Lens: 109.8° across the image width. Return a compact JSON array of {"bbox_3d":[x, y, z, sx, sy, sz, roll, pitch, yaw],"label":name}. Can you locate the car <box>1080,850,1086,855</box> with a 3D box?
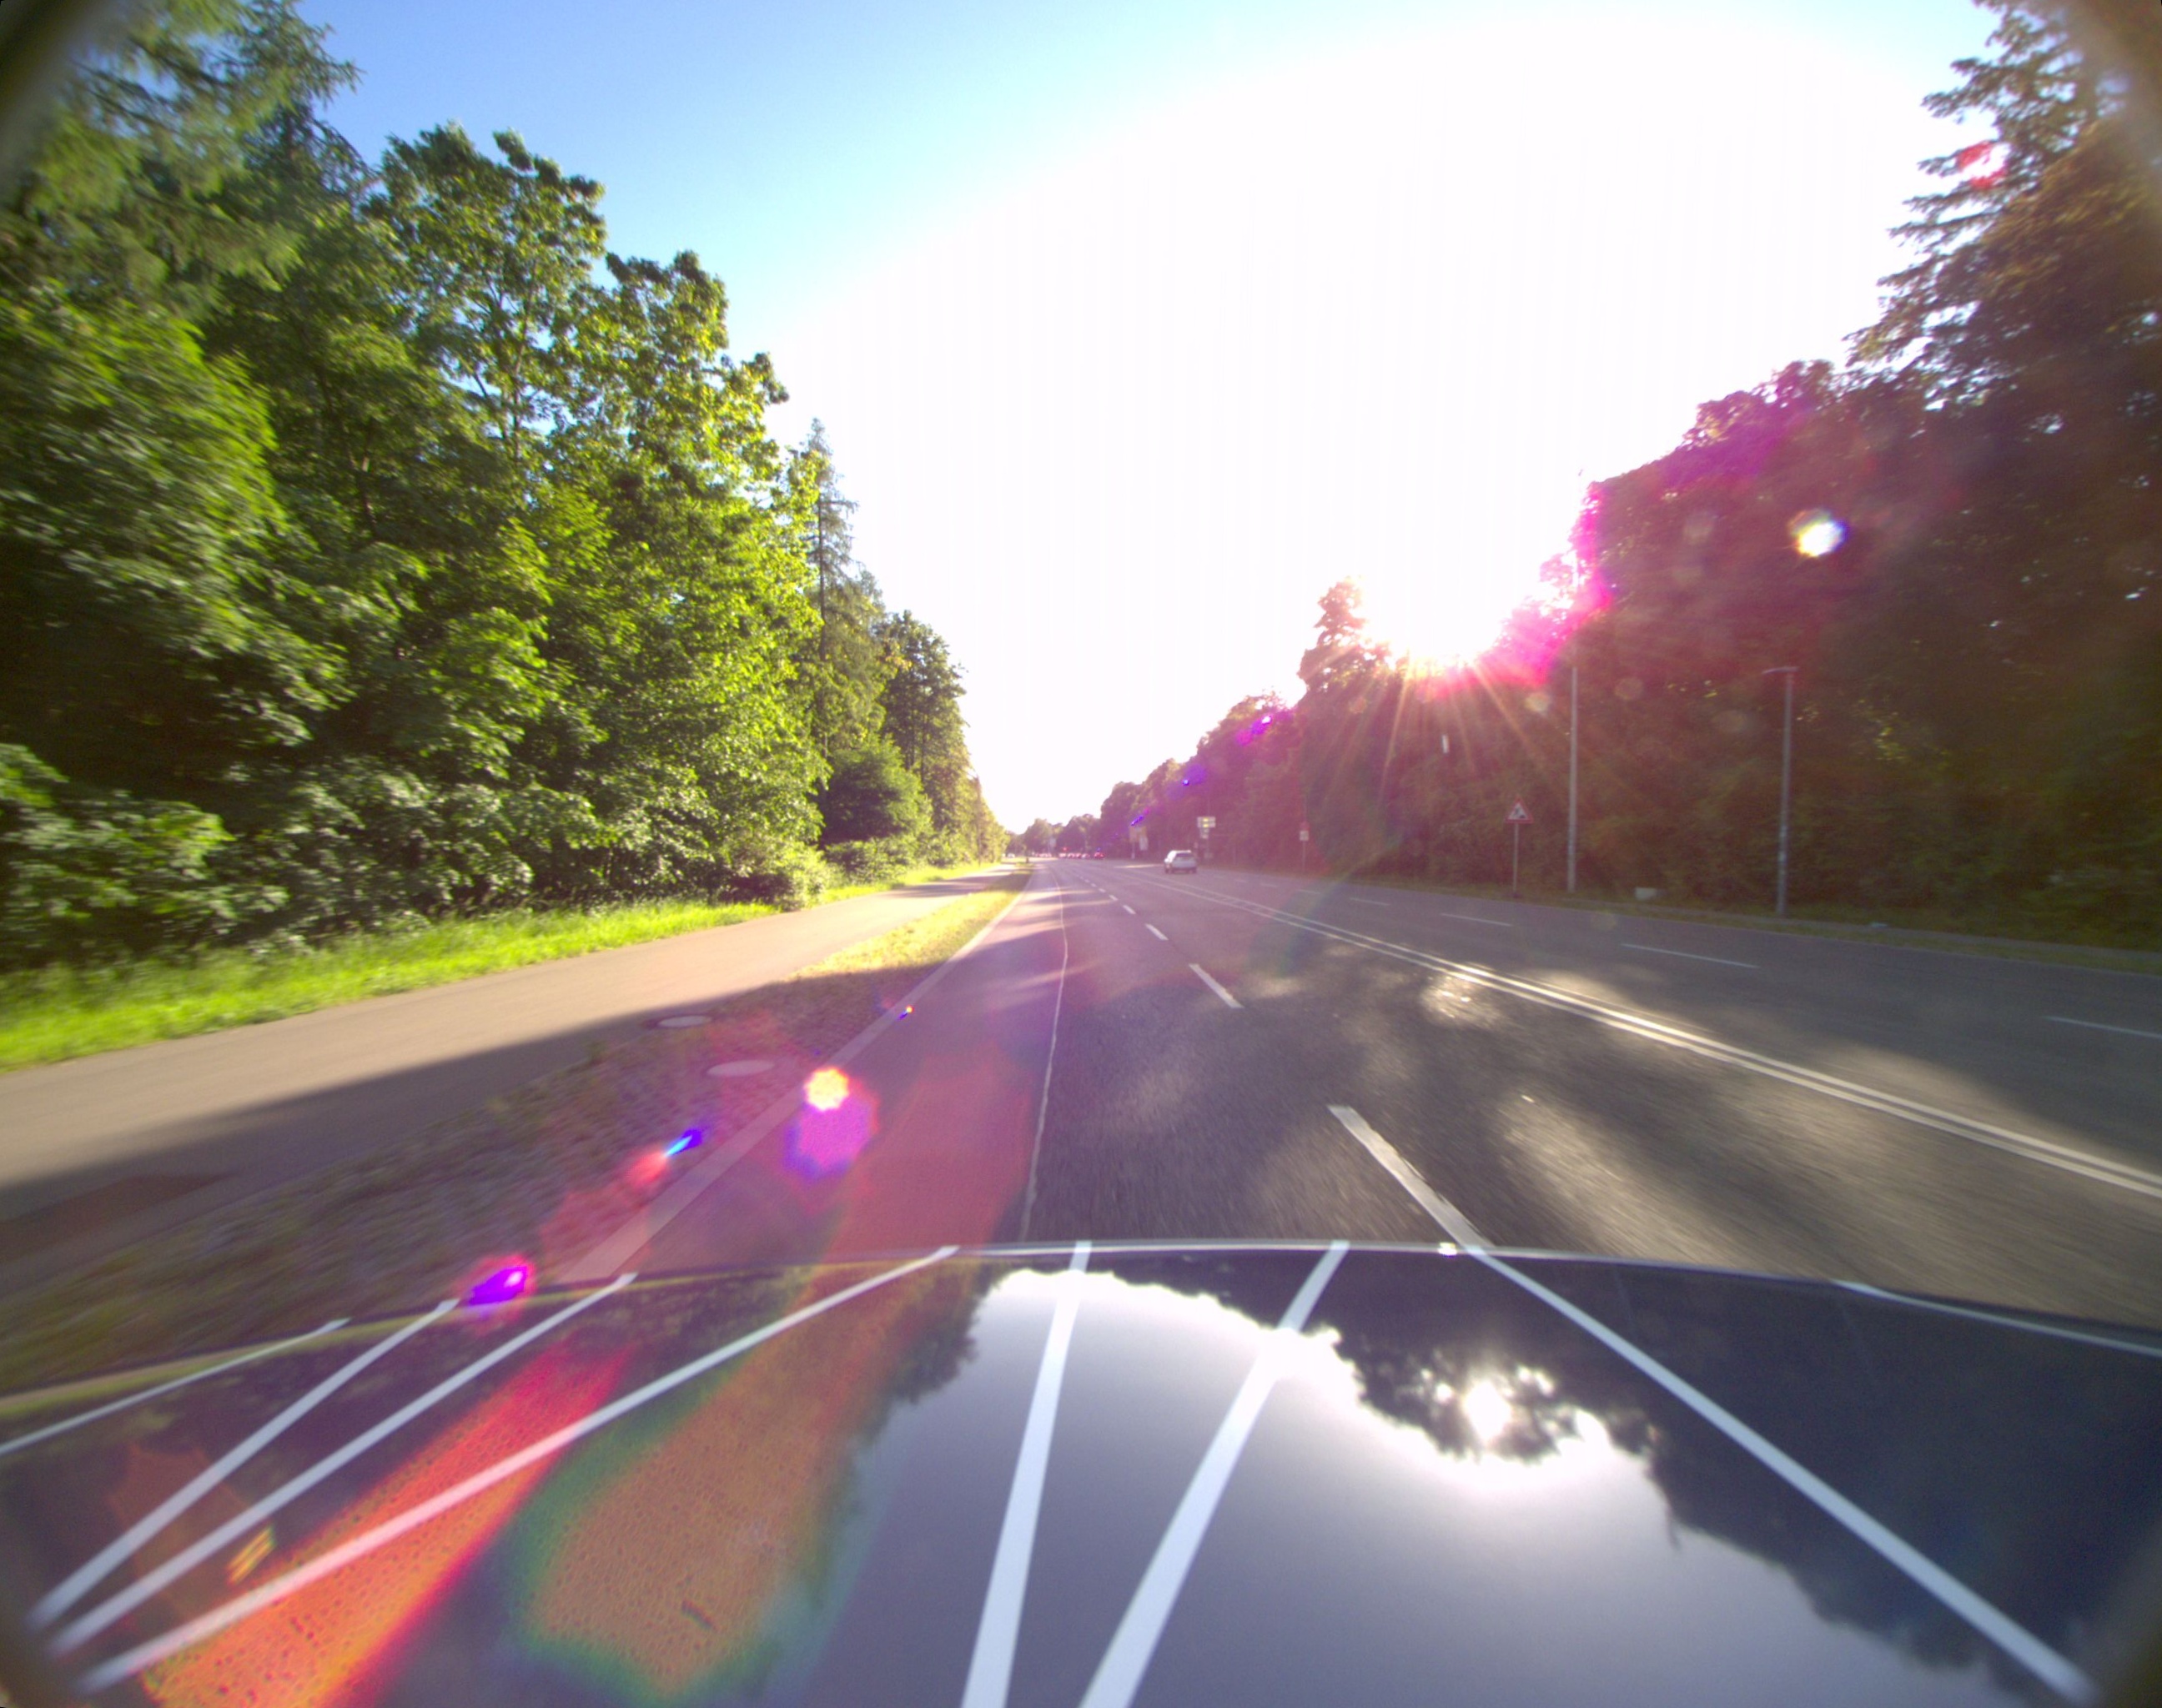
[{"bbox_3d":[0.556,-0.515,231.406,1.829,1.536,4.255,-1,0,-1],"label":"car"}]

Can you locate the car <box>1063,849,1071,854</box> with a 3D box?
[{"bbox_3d":[-4.721,-0.974,253.640,2.000,1.627,4.839,0,0,-10],"label":"car"}]

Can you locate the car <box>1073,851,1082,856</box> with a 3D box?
[{"bbox_3d":[-1.106,-0.296,238.774,2.000,1.555,4.335,0,0,-8],"label":"car"}]

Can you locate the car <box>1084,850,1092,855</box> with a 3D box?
[{"bbox_3d":[1.938,-0.515,217.023,1.830,1.495,4.305,-1,0,-3],"label":"car"}]

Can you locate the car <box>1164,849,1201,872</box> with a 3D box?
[{"bbox_3d":[7.478,0.440,56.363,1.913,1.654,4.732,-1,0,-3],"label":"car"}]

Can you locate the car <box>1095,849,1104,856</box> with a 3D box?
[{"bbox_3d":[4.385,-0.454,182.720,1.830,1.580,4.349,-1,0,-3],"label":"car"}]
